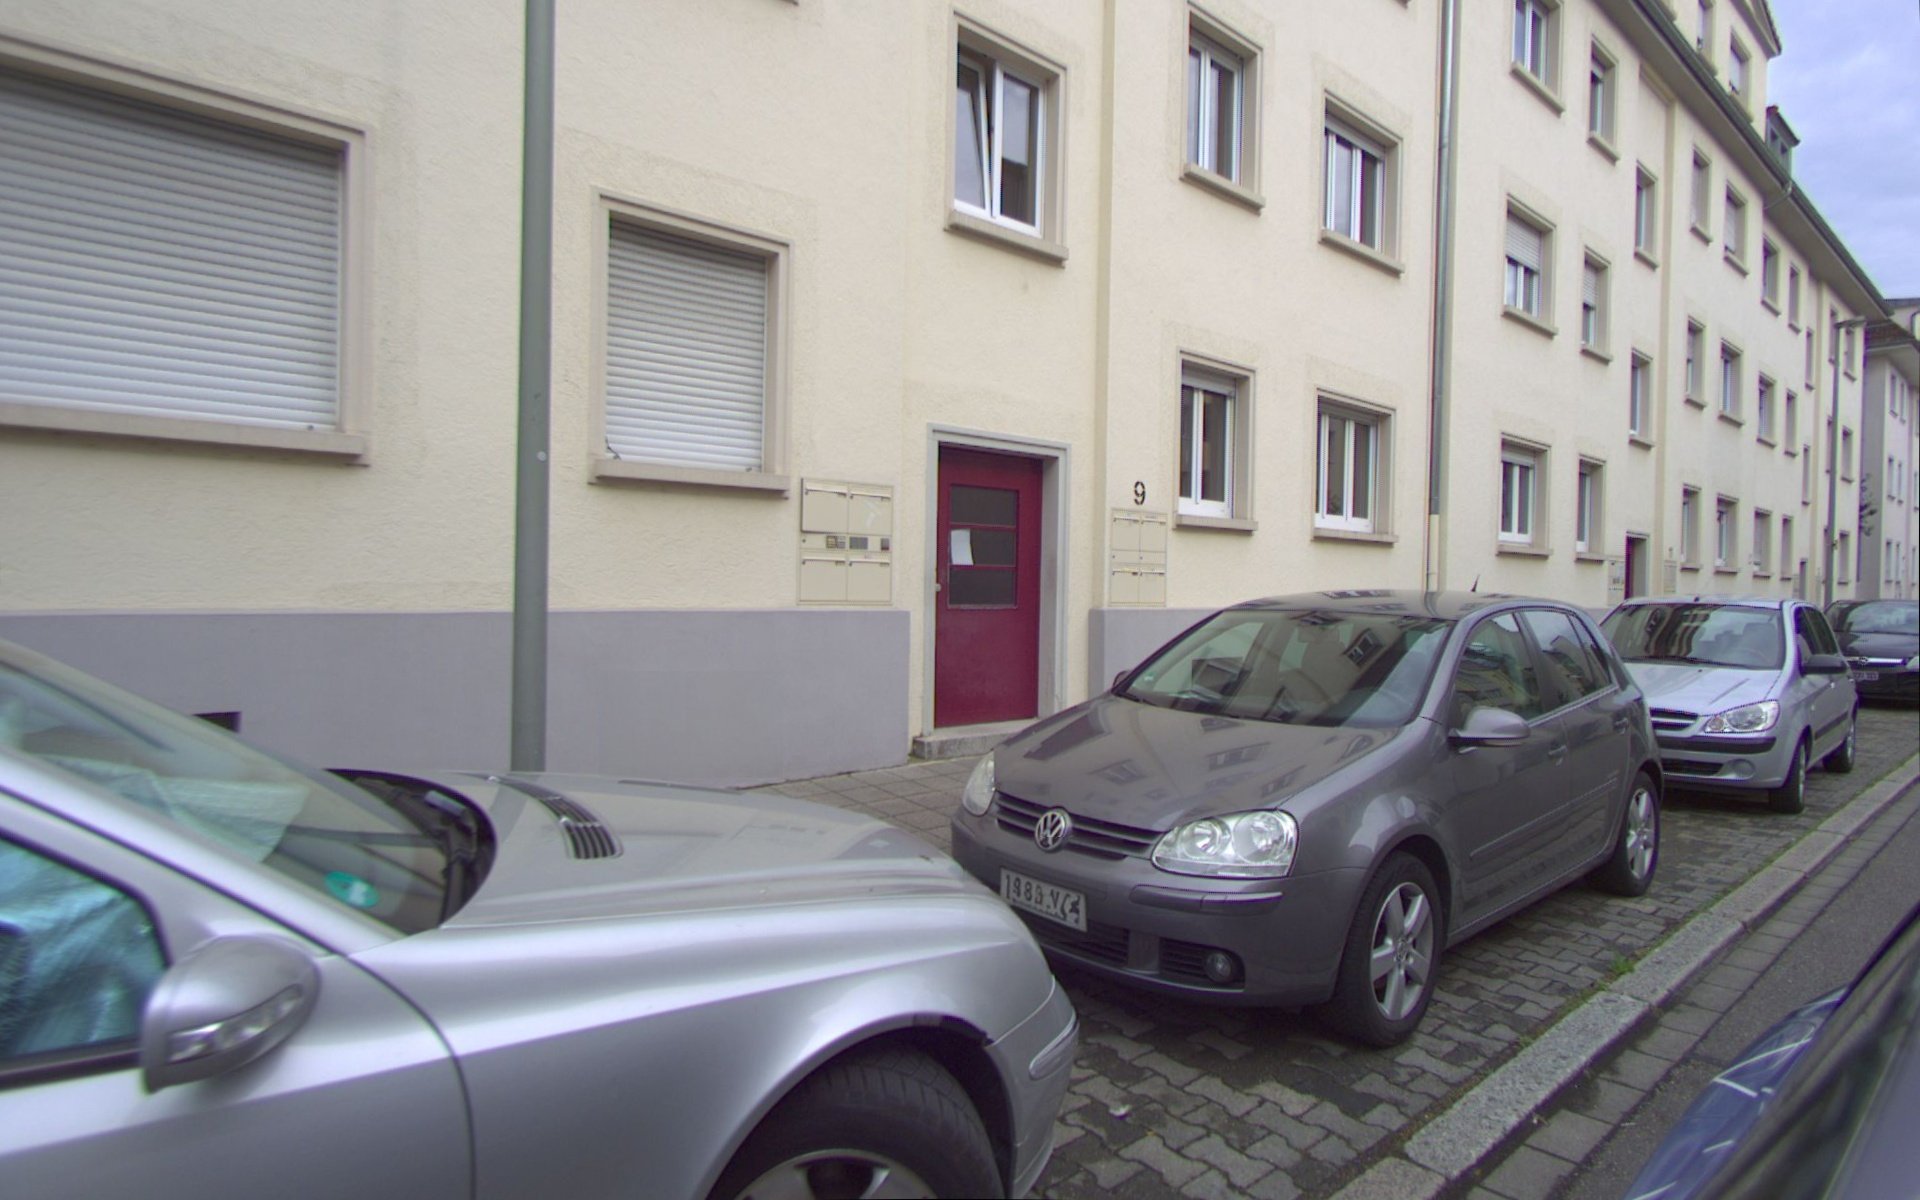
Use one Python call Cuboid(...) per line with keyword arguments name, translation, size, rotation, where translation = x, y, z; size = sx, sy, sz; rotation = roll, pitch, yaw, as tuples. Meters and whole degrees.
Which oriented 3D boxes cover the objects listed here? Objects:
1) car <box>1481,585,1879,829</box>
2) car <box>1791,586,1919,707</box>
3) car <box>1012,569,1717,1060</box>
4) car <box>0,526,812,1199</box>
Cuboid(name="car", translation=(5.899, 0.640, 8.133), size=(3.767, 1.468, 1.851), rotation=(0, 1, -42))
Cuboid(name="car", translation=(13.610, 0.605, 14.738), size=(3.990, 1.536, 1.728), rotation=(0, 1, -42))
Cuboid(name="car", translation=(2.185, 0.640, 4.930), size=(3.801, 1.495, 1.606), rotation=(0, 1, -40))
Cuboid(name="car", translation=(-2.471, 0.661, 0.798), size=(4.424, 1.495, 1.728), rotation=(0, 1, -40))
